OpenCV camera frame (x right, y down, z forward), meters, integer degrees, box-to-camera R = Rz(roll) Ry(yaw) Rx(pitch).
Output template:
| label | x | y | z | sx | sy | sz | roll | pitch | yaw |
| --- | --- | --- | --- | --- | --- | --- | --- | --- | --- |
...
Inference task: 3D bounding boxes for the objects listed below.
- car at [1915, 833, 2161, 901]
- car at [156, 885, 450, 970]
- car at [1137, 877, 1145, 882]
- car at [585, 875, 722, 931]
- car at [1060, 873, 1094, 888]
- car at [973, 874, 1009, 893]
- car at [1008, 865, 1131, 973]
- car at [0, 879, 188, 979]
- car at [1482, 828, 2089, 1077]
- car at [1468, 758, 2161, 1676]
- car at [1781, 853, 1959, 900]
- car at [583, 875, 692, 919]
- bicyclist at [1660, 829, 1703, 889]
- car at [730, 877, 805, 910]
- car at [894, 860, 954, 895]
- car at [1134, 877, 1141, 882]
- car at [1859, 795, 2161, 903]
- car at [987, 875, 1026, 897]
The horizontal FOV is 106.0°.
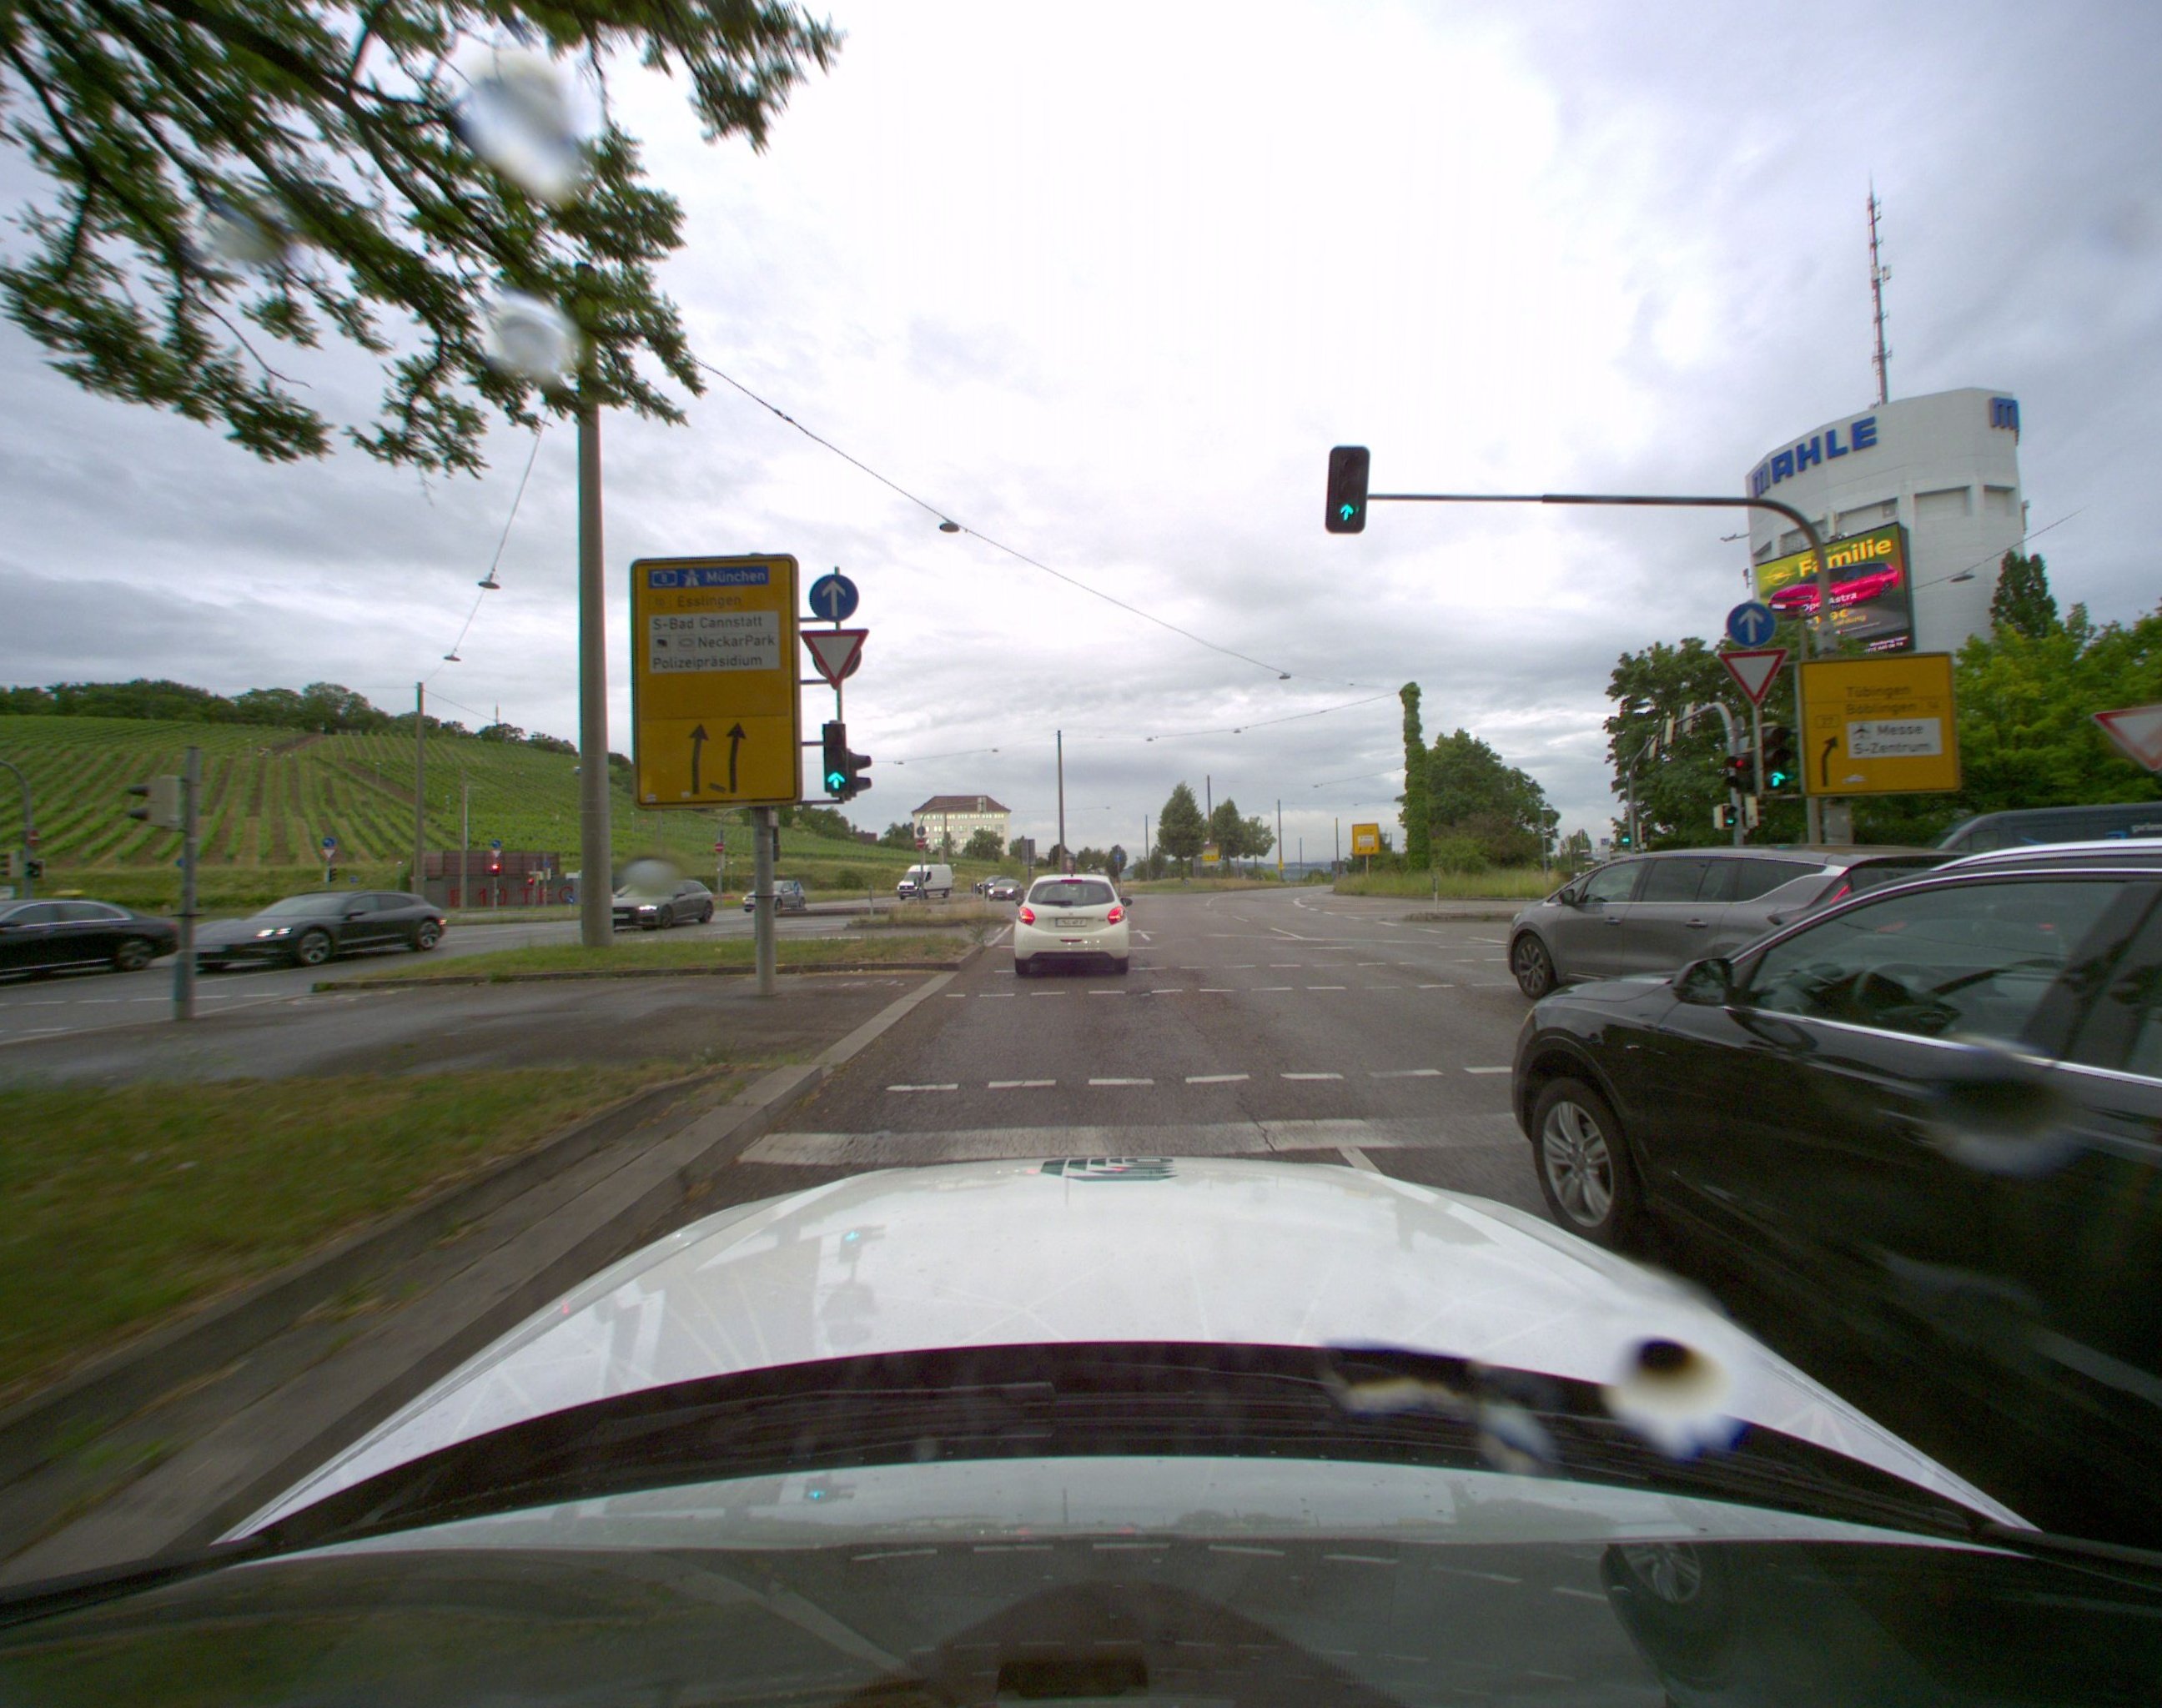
| label | x | y | z | sx | sy | sz | roll | pitch | yaw |
| --- | --- | --- | --- | --- | --- | --- | --- | --- | --- |
| car | 23.938 | 0.387 | 20.252 | 4.012 | 1.569 | 1.881 | -1 | -3 | 24 |
| car | -15.838 | 1.408 | 17.020 | 1.820 | 1.363 | 4.662 | -1 | -1 | -3 |
| car | 16.913 | 7.182 | 230.234 | 1.836 | 1.486 | 3.998 | -1 | -1 | -1 |
| car | -13.265 | 1.461 | 25.659 | 1.897 | 1.489 | 4.887 | -1 | -1 | -3 |
| car | -0.363 | 2.650 | 82.325 | 1.734 | 1.513 | 4.023 | 0 | -2 | 27 |
| car | -8.196 | 2.658 | 74.527 | 1.763 | 1.636 | 4.524 | 0 | -2 | 13 |
| car | -0.134 | 0.957 | 13.392 | 1.712 | 1.489 | 4.000 | -1 | -2 | 1 |
| car | -19.040 | 1.308 | 14.251 | 1.824 | 1.624 | 4.563 | -1 | -1 | -2 |
| car | 5.953 | 0.687 | 7.855 | 1.859 | 1.674 | 4.563 | -1 | -1 | -1 |
| car | 2.831 | 0.653 | 1.983 | 1.878 | 1.596 | 4.113 | 0 | -2 | 1 |
| car | 27.819 | 0.808 | 28.902 | 4.095 | 1.564 | 1.881 | -1 | -2 | 22 |
| car | -16.931 | 1.587 | 31.368 | 1.820 | 1.472 | 4.662 | -1 | -1 | -3 |
| bicyclist | 16.376 | 0.153 | 22.235 | 0.801 | 1.584 | 1.029 | -1 | -2 | 28 |
| car | -16.125 | 1.998 | 42.134 | 1.984 | 1.576 | 4.200 | 0 | -2 | 5 |
| car | -11.974 | 1.841 | 62.789 | 1.979 | 2.559 | 6.194 | 0 | -2 | 15 |
| car | 16.495 | 7.415 | 238.621 | 1.836 | 1.486 | 3.998 | -1 | -1 | -1 |
| car | 26.035 | -0.039 | 22.625 | 5.954 | 2.742 | 2.093 | -1 | -3 | 27 |
| car | -5.085 | 2.181 | 55.831 | 1.766 | 1.425 | 4.381 | -2 | -2 | 6 |
